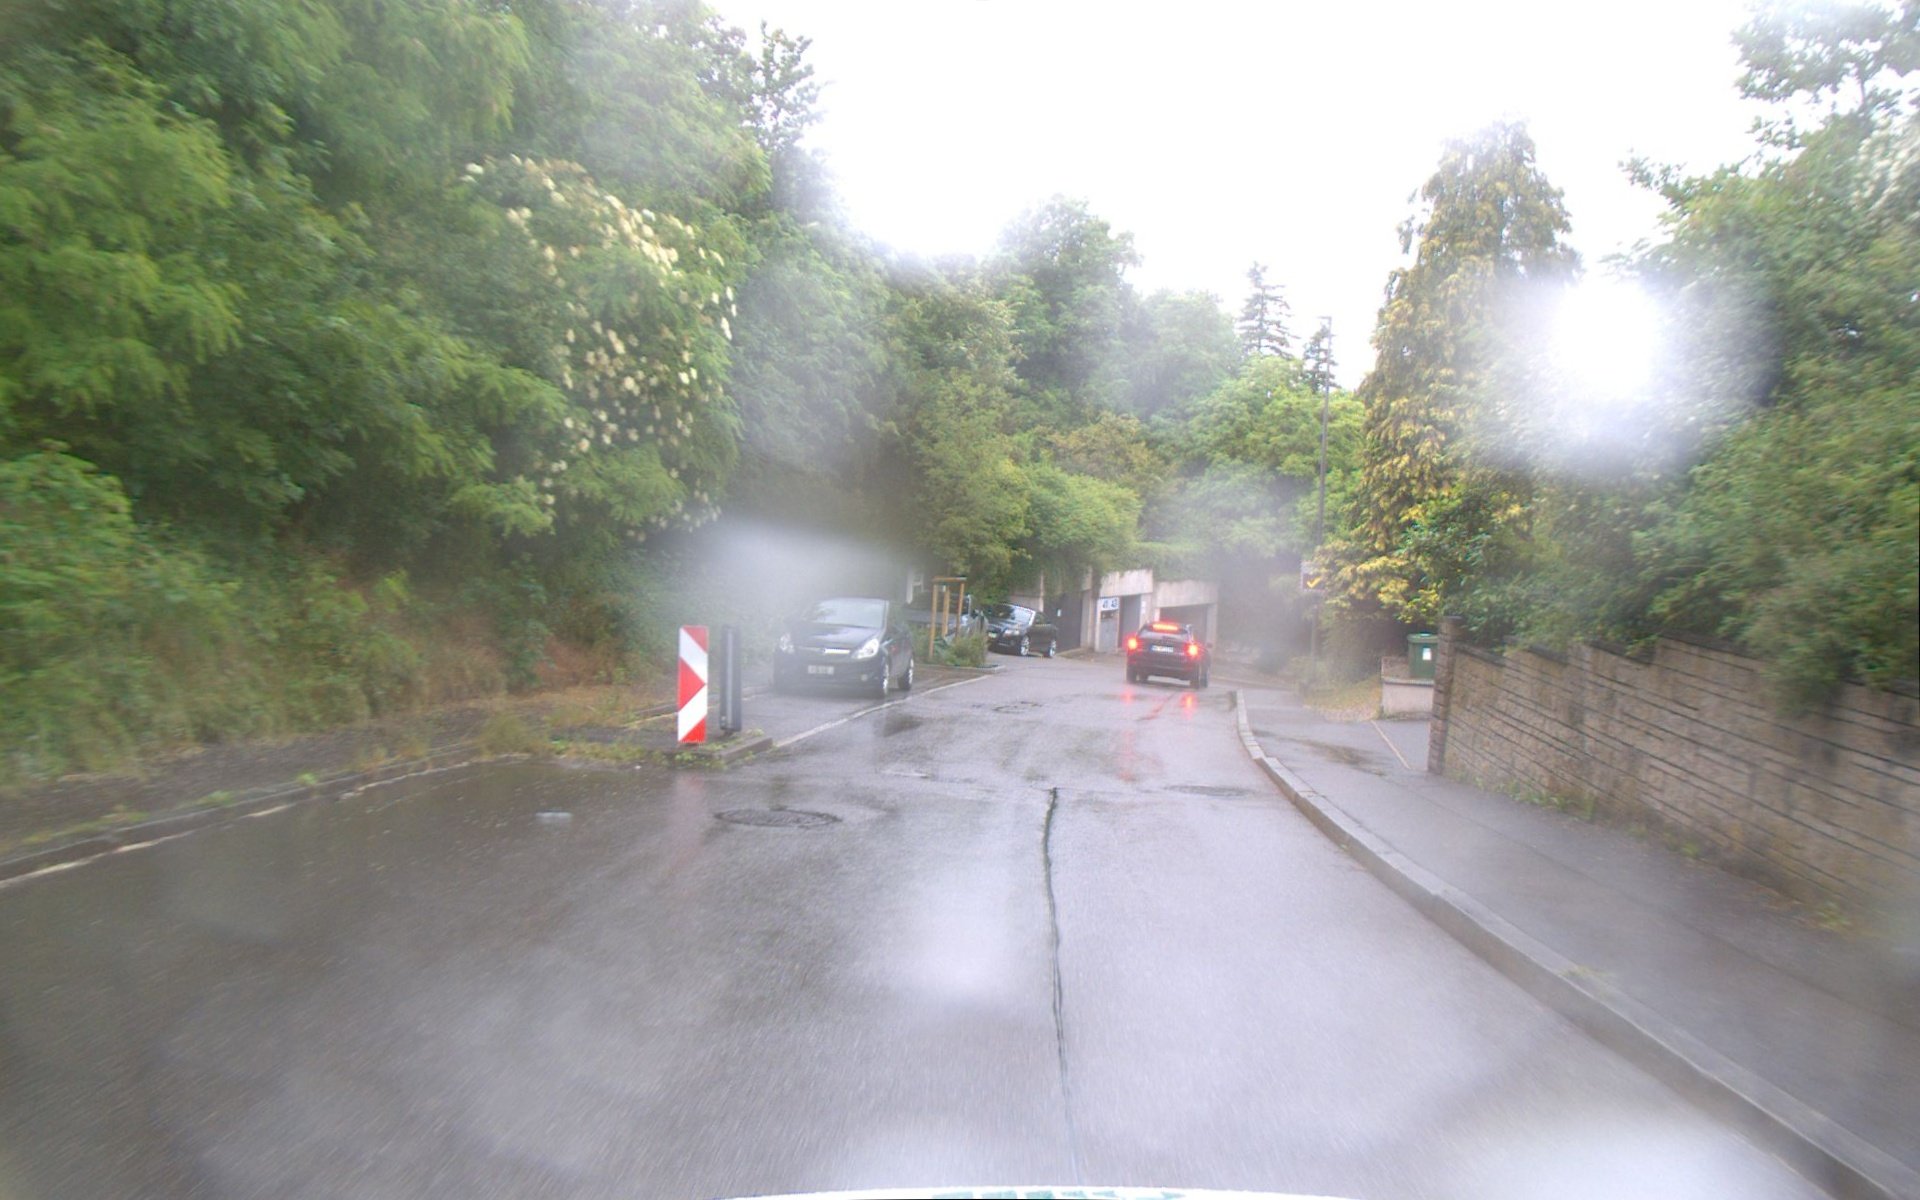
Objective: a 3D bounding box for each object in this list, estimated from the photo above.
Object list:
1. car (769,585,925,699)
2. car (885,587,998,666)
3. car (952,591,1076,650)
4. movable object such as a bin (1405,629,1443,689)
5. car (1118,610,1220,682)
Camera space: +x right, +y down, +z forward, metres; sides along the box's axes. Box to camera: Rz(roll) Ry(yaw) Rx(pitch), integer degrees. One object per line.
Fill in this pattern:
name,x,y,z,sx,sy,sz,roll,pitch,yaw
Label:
car,-1.640,0.585,25.314,1.664,1.496,4.003,3,1,6
car,-0.379,0.624,39.628,1.951,1.669,4.003,3,0,9
car,1.654,0.633,49.063,1.955,1.534,4.566,3,0,25
movable object such as a bin,8.798,1.111,31.358,0.549,1.085,0.702,2,0,6
car,5.073,1.121,39.769,1.829,1.538,4.095,3,-1,15
